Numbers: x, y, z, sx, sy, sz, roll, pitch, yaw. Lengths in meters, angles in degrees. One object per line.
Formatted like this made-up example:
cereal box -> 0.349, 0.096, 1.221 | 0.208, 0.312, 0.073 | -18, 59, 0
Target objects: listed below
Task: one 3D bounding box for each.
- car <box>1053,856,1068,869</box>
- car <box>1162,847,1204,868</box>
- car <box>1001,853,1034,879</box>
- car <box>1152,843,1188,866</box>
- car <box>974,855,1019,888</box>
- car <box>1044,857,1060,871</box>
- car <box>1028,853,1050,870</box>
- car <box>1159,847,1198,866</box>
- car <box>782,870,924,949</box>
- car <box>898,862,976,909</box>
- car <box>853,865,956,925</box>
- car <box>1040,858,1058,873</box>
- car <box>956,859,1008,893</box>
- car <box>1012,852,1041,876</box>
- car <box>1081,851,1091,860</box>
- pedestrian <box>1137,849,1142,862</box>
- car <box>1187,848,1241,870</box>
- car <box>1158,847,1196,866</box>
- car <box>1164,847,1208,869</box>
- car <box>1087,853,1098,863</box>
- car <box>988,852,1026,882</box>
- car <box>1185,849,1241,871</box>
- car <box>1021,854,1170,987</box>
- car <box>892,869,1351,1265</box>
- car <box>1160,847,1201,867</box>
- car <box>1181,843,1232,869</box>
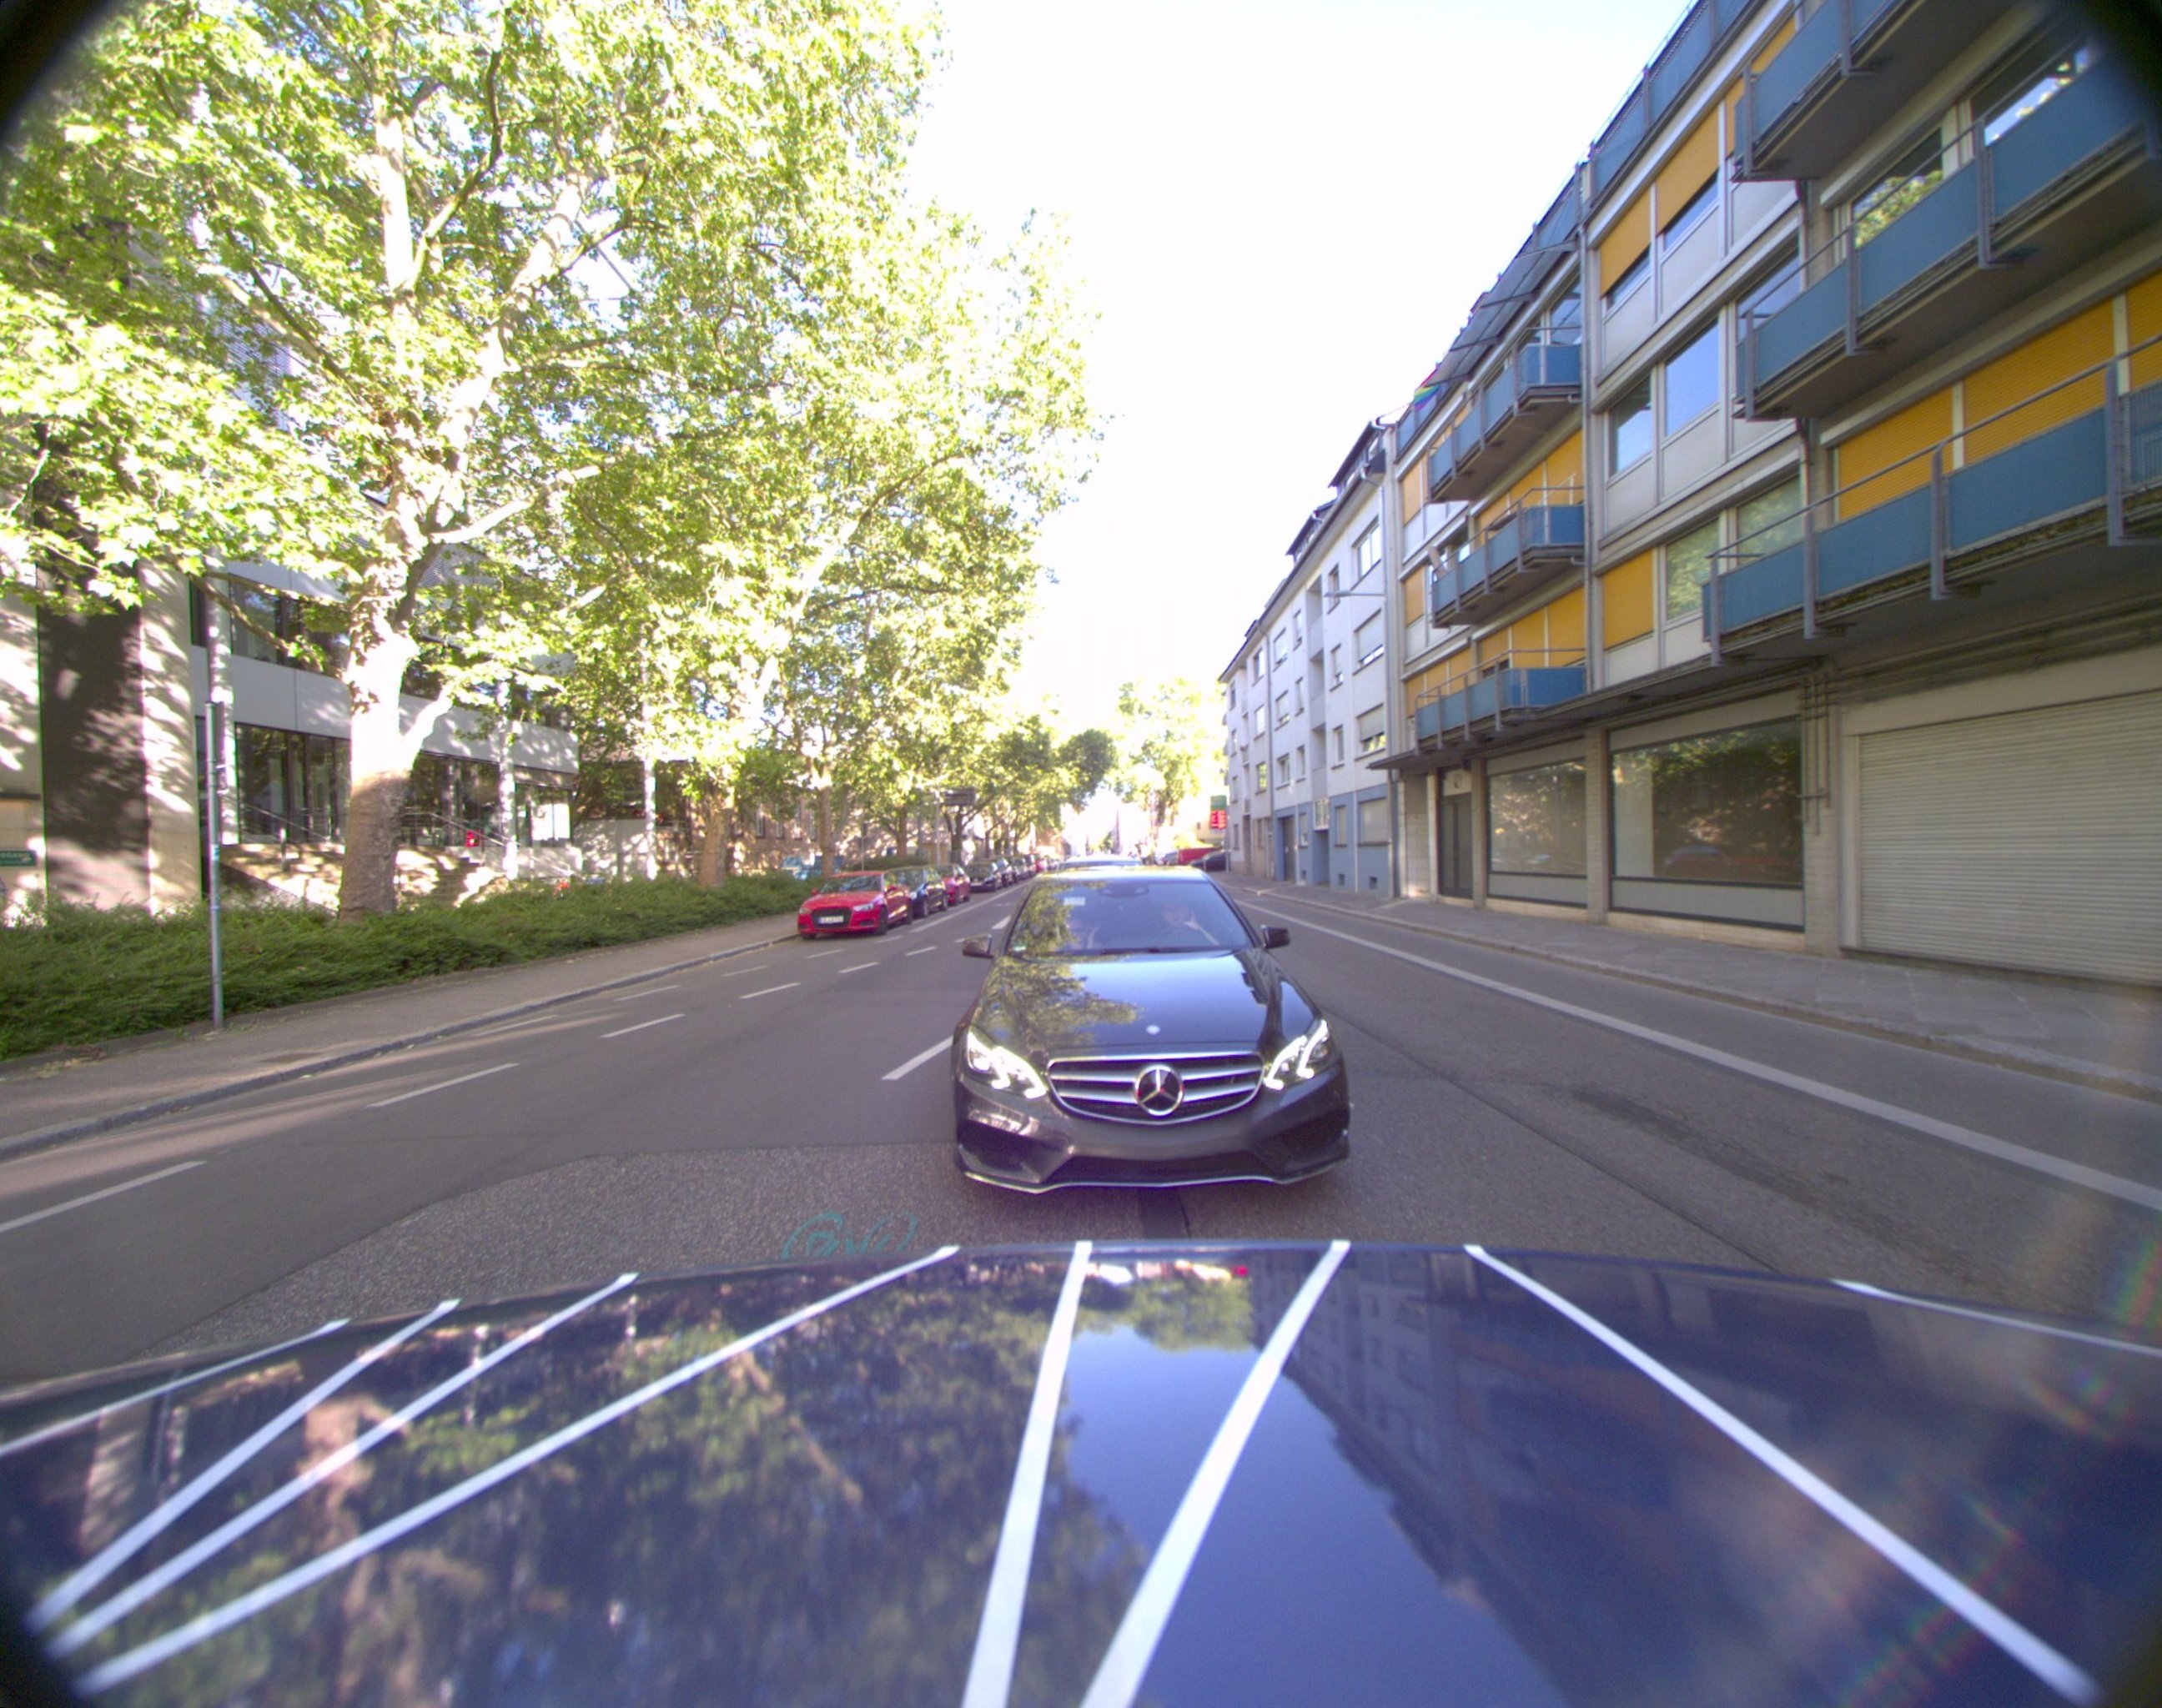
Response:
car -> -2.832, 1.119, 105.187 | 1.866, 1.632, 4.481 | -2, 0, 1
car -> 10.324, 0.351, 77.143 | 3.996, 1.936, 2.000 | -2, 1, 2
car -> -4.510, 0.822, 54.796 | 1.866, 1.749, 4.481 | -2, 0, 1
car -> 10.481, 0.011, 89.504 | 3.996, 2.505, 2.000 | -2, 1, 2
car -> -4.627, 0.910, 42.203 | 1.866, 1.658, 4.481 | -2, 0, 1
car -> -3.663, 1.243, 96.780 | 1.866, 1.632, 4.481 | -2, 0, 1
car -> -4.206, 0.710, 76.275 | 1.866, 1.632, 4.481 | -2, 0, 1
car -> 10.582, 0.282, 82.483 | 3.996, 1.936, 2.000 | -2, 1, 2
car -> -5.109, 1.179, 17.727 | 1.866, 1.442, 4.481 | -2, 0, 1
car -> -5.093, 1.067, 27.421 | 1.866, 1.442, 4.481 | -2, 0, 1
car -> -5.049, 1.125, 22.378 | 1.866, 1.442, 4.481 | -2, 0, 1
car -> -3.773, 1.327, 89.981 | 1.866, 1.632, 4.481 | -2, 0, 1
car -> -4.762, 1.027, 37.168 | 1.866, 1.442, 4.481 | -2, 0, 1
car -> -4.252, 0.760, 59.752 | 1.866, 1.749, 4.481 | -2, 0, 1
car -> 1.015, 0.242, 151.691 | 1.866, 1.632, 4.481 | -2, 0, 1
pedestrian -> 9.327, 0.268, 121.278 | 0.735, 2.002, 1.046 | -2, 1, -1
car -> 10.709, 0.382, 61.190 | 3.996, 1.543, 2.000 | -2, 1, 2
car -> 10.728, 0.249, 84.977 | 3.996, 1.936, 2.000 | -2, 1, 2
car -> 10.240, 0.384, 74.502 | 3.996, 1.936, 2.000 | -2, 1, 2
car -> 1.967, 0.680, 128.111 | 1.866, 1.632, 4.481 | -2, 0, 1
car -> -4.639, 0.787, 48.130 | 1.866, 1.749, 4.481 | -2, 0, 1
car -> 10.167, 0.429, 58.868 | 3.996, 1.543, 2.000 | -2, 1, 2
car -> 0.219, 0.859, 11.927 | 1.866, 1.630, 4.303 | -2, 0, 1
car -> 0.200, 0.934, 5.404 | 1.866, 1.492, 4.481 | -2, 0, 1
car -> 10.453, 0.314, 79.994 | 3.996, 1.936, 2.000 | -2, 1, 2
car -> 10.541, 0.160, 64.021 | 3.996, 1.936, 2.000 | -2, 1, 2
